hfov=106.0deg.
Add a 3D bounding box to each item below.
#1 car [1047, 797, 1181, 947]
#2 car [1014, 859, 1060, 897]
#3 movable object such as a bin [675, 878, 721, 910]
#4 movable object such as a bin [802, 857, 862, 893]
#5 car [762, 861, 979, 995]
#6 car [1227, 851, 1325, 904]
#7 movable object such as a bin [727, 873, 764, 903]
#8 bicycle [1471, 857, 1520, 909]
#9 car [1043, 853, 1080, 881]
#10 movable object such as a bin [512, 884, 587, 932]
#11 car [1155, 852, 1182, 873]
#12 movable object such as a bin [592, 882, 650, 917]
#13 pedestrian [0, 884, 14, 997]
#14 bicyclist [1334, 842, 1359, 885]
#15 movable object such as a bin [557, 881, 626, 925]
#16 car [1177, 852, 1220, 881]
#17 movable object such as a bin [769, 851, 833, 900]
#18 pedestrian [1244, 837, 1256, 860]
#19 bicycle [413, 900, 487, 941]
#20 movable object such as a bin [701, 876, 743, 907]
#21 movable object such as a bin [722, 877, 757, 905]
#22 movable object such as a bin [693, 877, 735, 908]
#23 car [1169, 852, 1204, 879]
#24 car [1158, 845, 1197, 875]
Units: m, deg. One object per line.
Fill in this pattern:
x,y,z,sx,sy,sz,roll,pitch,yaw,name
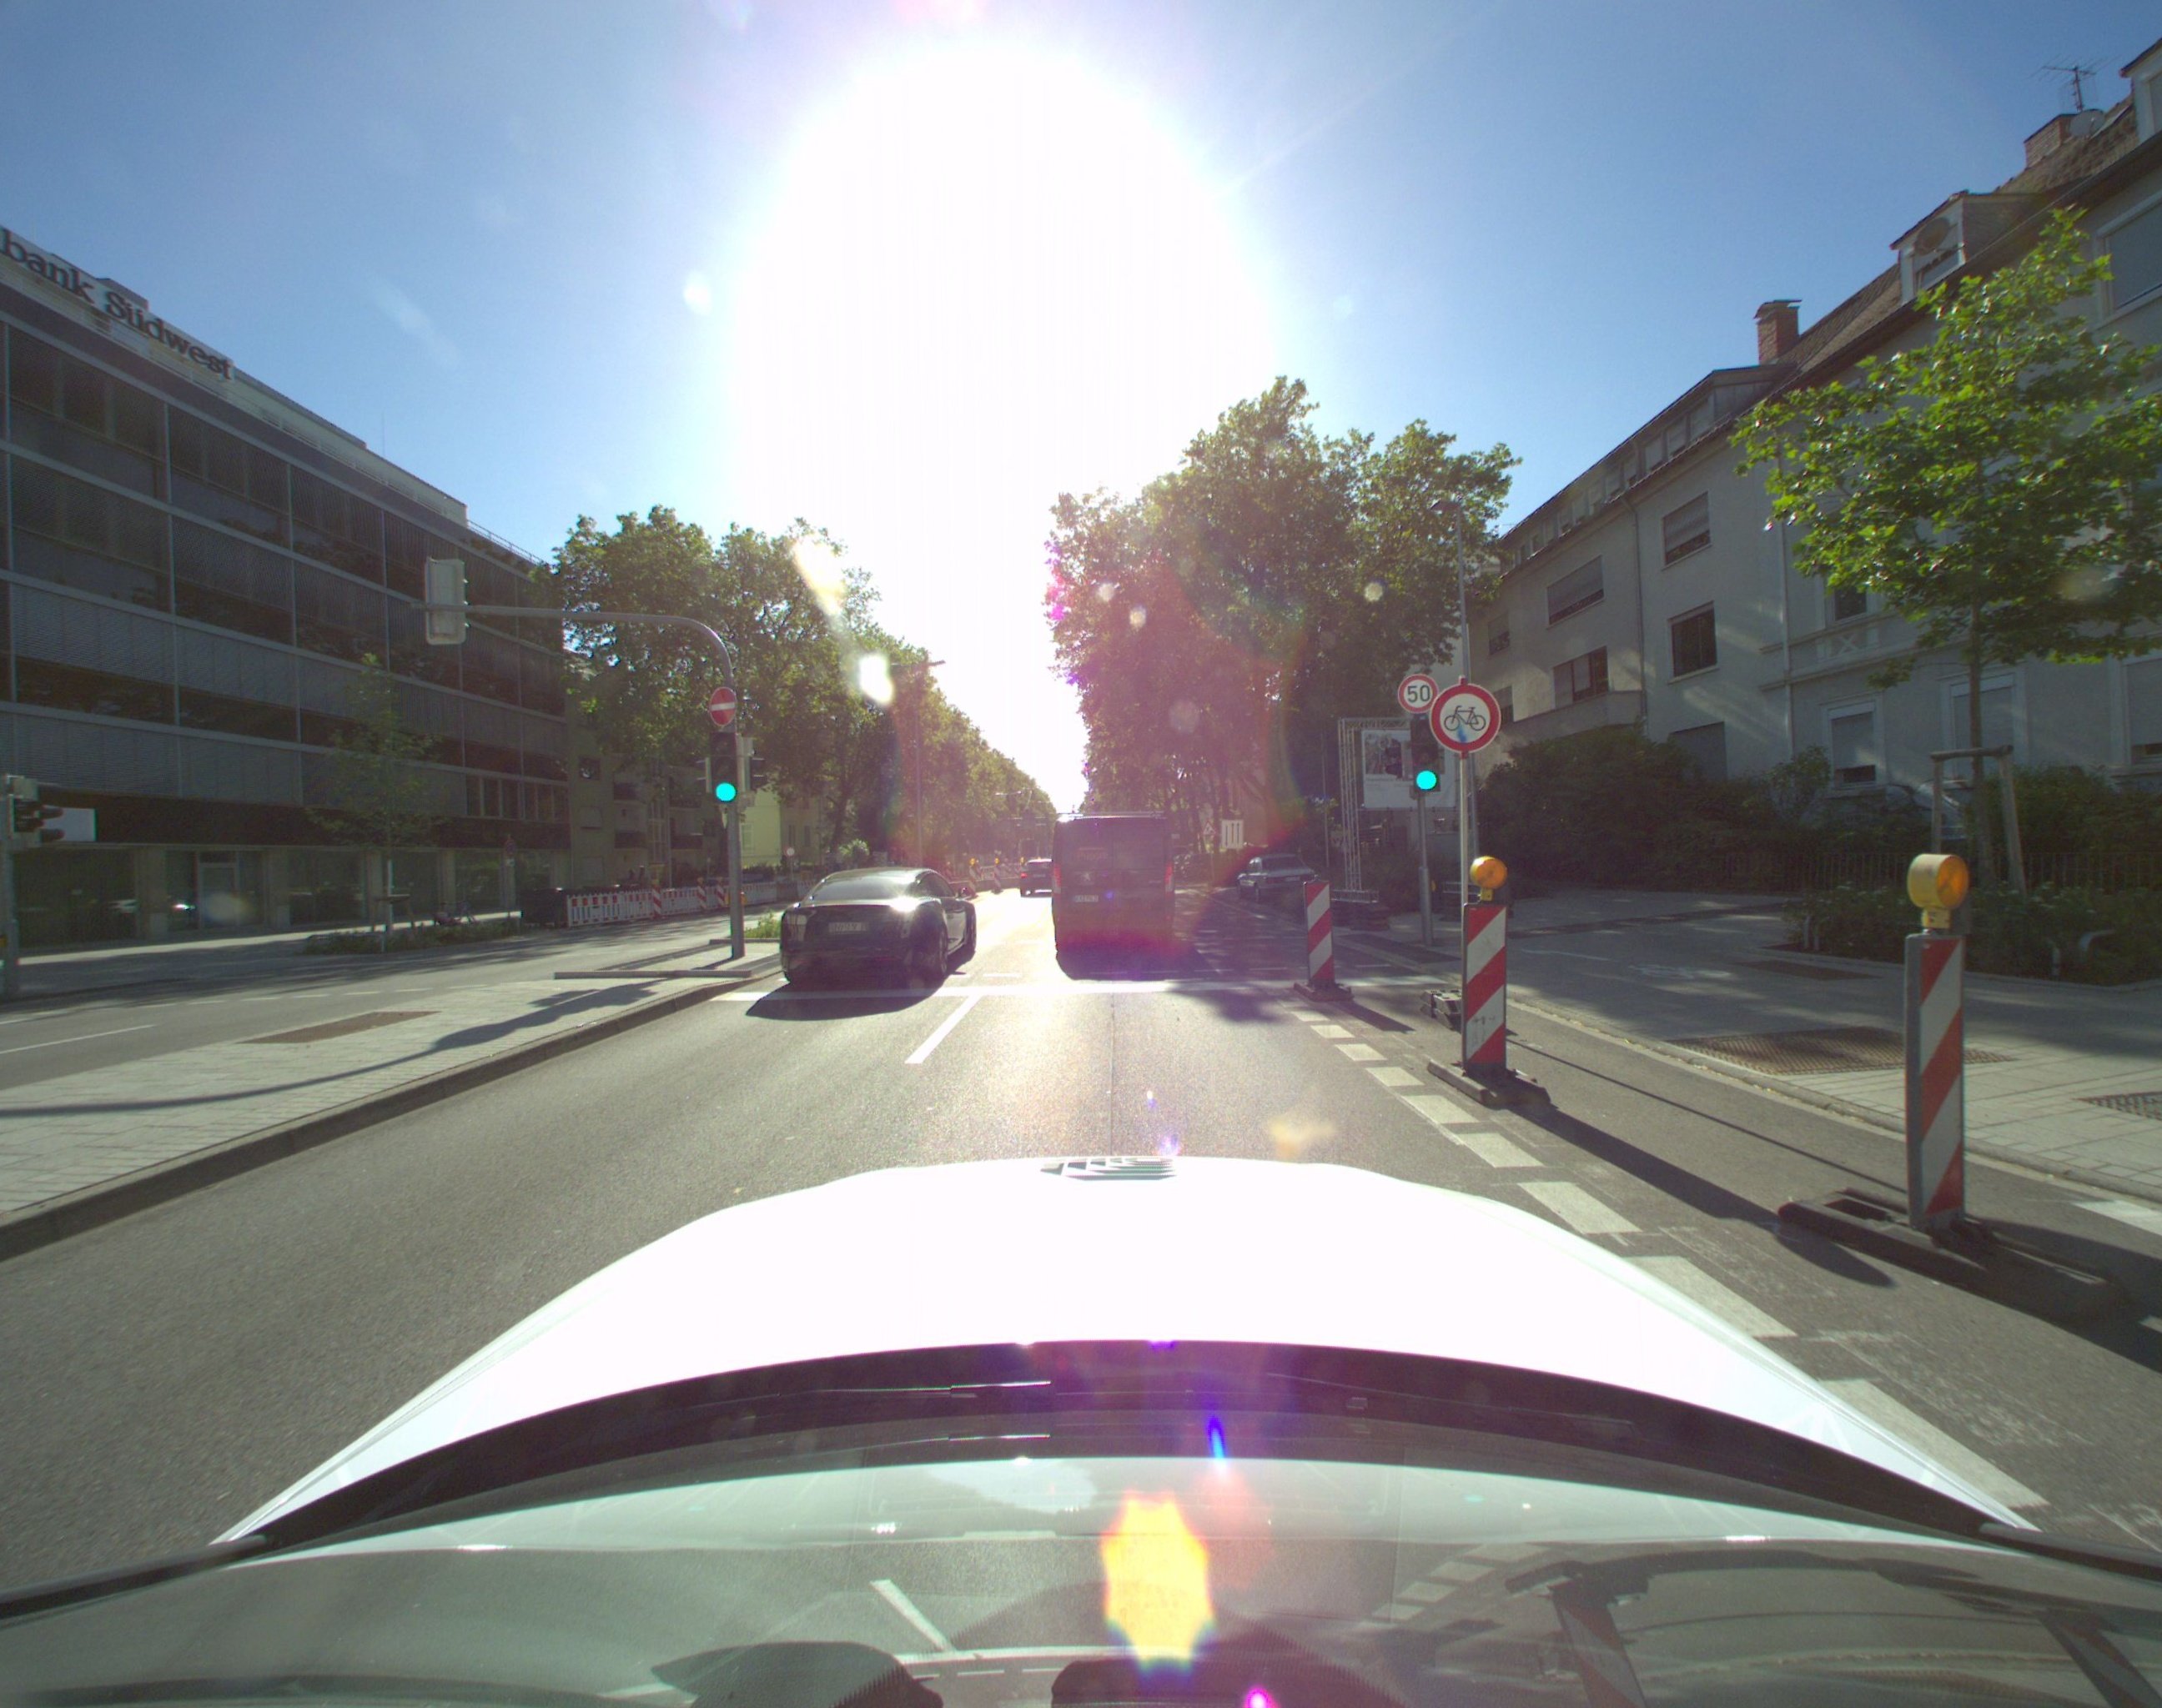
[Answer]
0.580,0.278,14.989,2.087,2.355,3.934,-1,0,2,car
-1.751,0.944,33.742,1.741,1.407,3.998,-1,0,-1,car
-16.828,1.747,35.808,1.404,1.338,1.157,-2,0,2,movable object such as a bin
-16.876,1.380,55.531,1.985,2.278,5.603,-3,-1,3,movable object such as a bin
-2.690,0.859,11.632,1.919,1.412,4.623,-2,0,-1,car
6.043,0.679,25.856,1.846,1.479,4.940,-2,0,-1,car
-16.937,1.691,41.053,1.638,1.423,1.252,-2,0,-25,movable object such as a bin
8.749,0.582,17.135,0.581,1.005,2.145,-2,0,35,bicycle
-1.097,0.748,47.584,1.904,1.444,4.603,-3,-1,1,car
-17.221,1.730,26.463,1.109,1.388,1.857,-2,0,2,movable object such as a bin
6.712,0.644,62.511,1.741,1.477,4.104,-3,0,2,car
-17.221,1.691,30.539,1.388,1.203,1.242,-2,0,3,movable object such as a bin
-16.927,1.336,12.066,0.860,1.710,1.014,-2,0,8,pedestrian
11.455,0.393,35.163,0.721,1.820,1.071,-2,0,1,bicyclist
-17.284,1.707,28.800,1.210,1.388,1.857,-2,0,2,movable object such as a bin
6.464,0.672,45.083,1.757,1.508,4.251,-2,0,1,car
-16.860,1.242,49.350,2.141,2.706,5.350,-2,0,-2,movable object such as a bin
12.367,-0.415,59.533,0.704,1.648,0.674,0,2,-2,pedestrian
-18.492,1.931,23.927,0.624,1.037,1.880,-2,0,2,bicycle
-16.721,1.723,37.928,1.404,1.338,1.069,-2,0,2,movable object such as a bin
-16.446,1.780,39.229,0.976,1.271,1.540,-2,0,0,movable object such as a bin
-16.622,1.732,36.894,1.404,1.338,0.936,-2,0,2,movable object such as a bin
6.446,0.677,50.074,1.652,1.540,4.128,-1,0,1,car
6.655,0.406,56.765,2.019,1.946,5.273,-2,0,0,car
